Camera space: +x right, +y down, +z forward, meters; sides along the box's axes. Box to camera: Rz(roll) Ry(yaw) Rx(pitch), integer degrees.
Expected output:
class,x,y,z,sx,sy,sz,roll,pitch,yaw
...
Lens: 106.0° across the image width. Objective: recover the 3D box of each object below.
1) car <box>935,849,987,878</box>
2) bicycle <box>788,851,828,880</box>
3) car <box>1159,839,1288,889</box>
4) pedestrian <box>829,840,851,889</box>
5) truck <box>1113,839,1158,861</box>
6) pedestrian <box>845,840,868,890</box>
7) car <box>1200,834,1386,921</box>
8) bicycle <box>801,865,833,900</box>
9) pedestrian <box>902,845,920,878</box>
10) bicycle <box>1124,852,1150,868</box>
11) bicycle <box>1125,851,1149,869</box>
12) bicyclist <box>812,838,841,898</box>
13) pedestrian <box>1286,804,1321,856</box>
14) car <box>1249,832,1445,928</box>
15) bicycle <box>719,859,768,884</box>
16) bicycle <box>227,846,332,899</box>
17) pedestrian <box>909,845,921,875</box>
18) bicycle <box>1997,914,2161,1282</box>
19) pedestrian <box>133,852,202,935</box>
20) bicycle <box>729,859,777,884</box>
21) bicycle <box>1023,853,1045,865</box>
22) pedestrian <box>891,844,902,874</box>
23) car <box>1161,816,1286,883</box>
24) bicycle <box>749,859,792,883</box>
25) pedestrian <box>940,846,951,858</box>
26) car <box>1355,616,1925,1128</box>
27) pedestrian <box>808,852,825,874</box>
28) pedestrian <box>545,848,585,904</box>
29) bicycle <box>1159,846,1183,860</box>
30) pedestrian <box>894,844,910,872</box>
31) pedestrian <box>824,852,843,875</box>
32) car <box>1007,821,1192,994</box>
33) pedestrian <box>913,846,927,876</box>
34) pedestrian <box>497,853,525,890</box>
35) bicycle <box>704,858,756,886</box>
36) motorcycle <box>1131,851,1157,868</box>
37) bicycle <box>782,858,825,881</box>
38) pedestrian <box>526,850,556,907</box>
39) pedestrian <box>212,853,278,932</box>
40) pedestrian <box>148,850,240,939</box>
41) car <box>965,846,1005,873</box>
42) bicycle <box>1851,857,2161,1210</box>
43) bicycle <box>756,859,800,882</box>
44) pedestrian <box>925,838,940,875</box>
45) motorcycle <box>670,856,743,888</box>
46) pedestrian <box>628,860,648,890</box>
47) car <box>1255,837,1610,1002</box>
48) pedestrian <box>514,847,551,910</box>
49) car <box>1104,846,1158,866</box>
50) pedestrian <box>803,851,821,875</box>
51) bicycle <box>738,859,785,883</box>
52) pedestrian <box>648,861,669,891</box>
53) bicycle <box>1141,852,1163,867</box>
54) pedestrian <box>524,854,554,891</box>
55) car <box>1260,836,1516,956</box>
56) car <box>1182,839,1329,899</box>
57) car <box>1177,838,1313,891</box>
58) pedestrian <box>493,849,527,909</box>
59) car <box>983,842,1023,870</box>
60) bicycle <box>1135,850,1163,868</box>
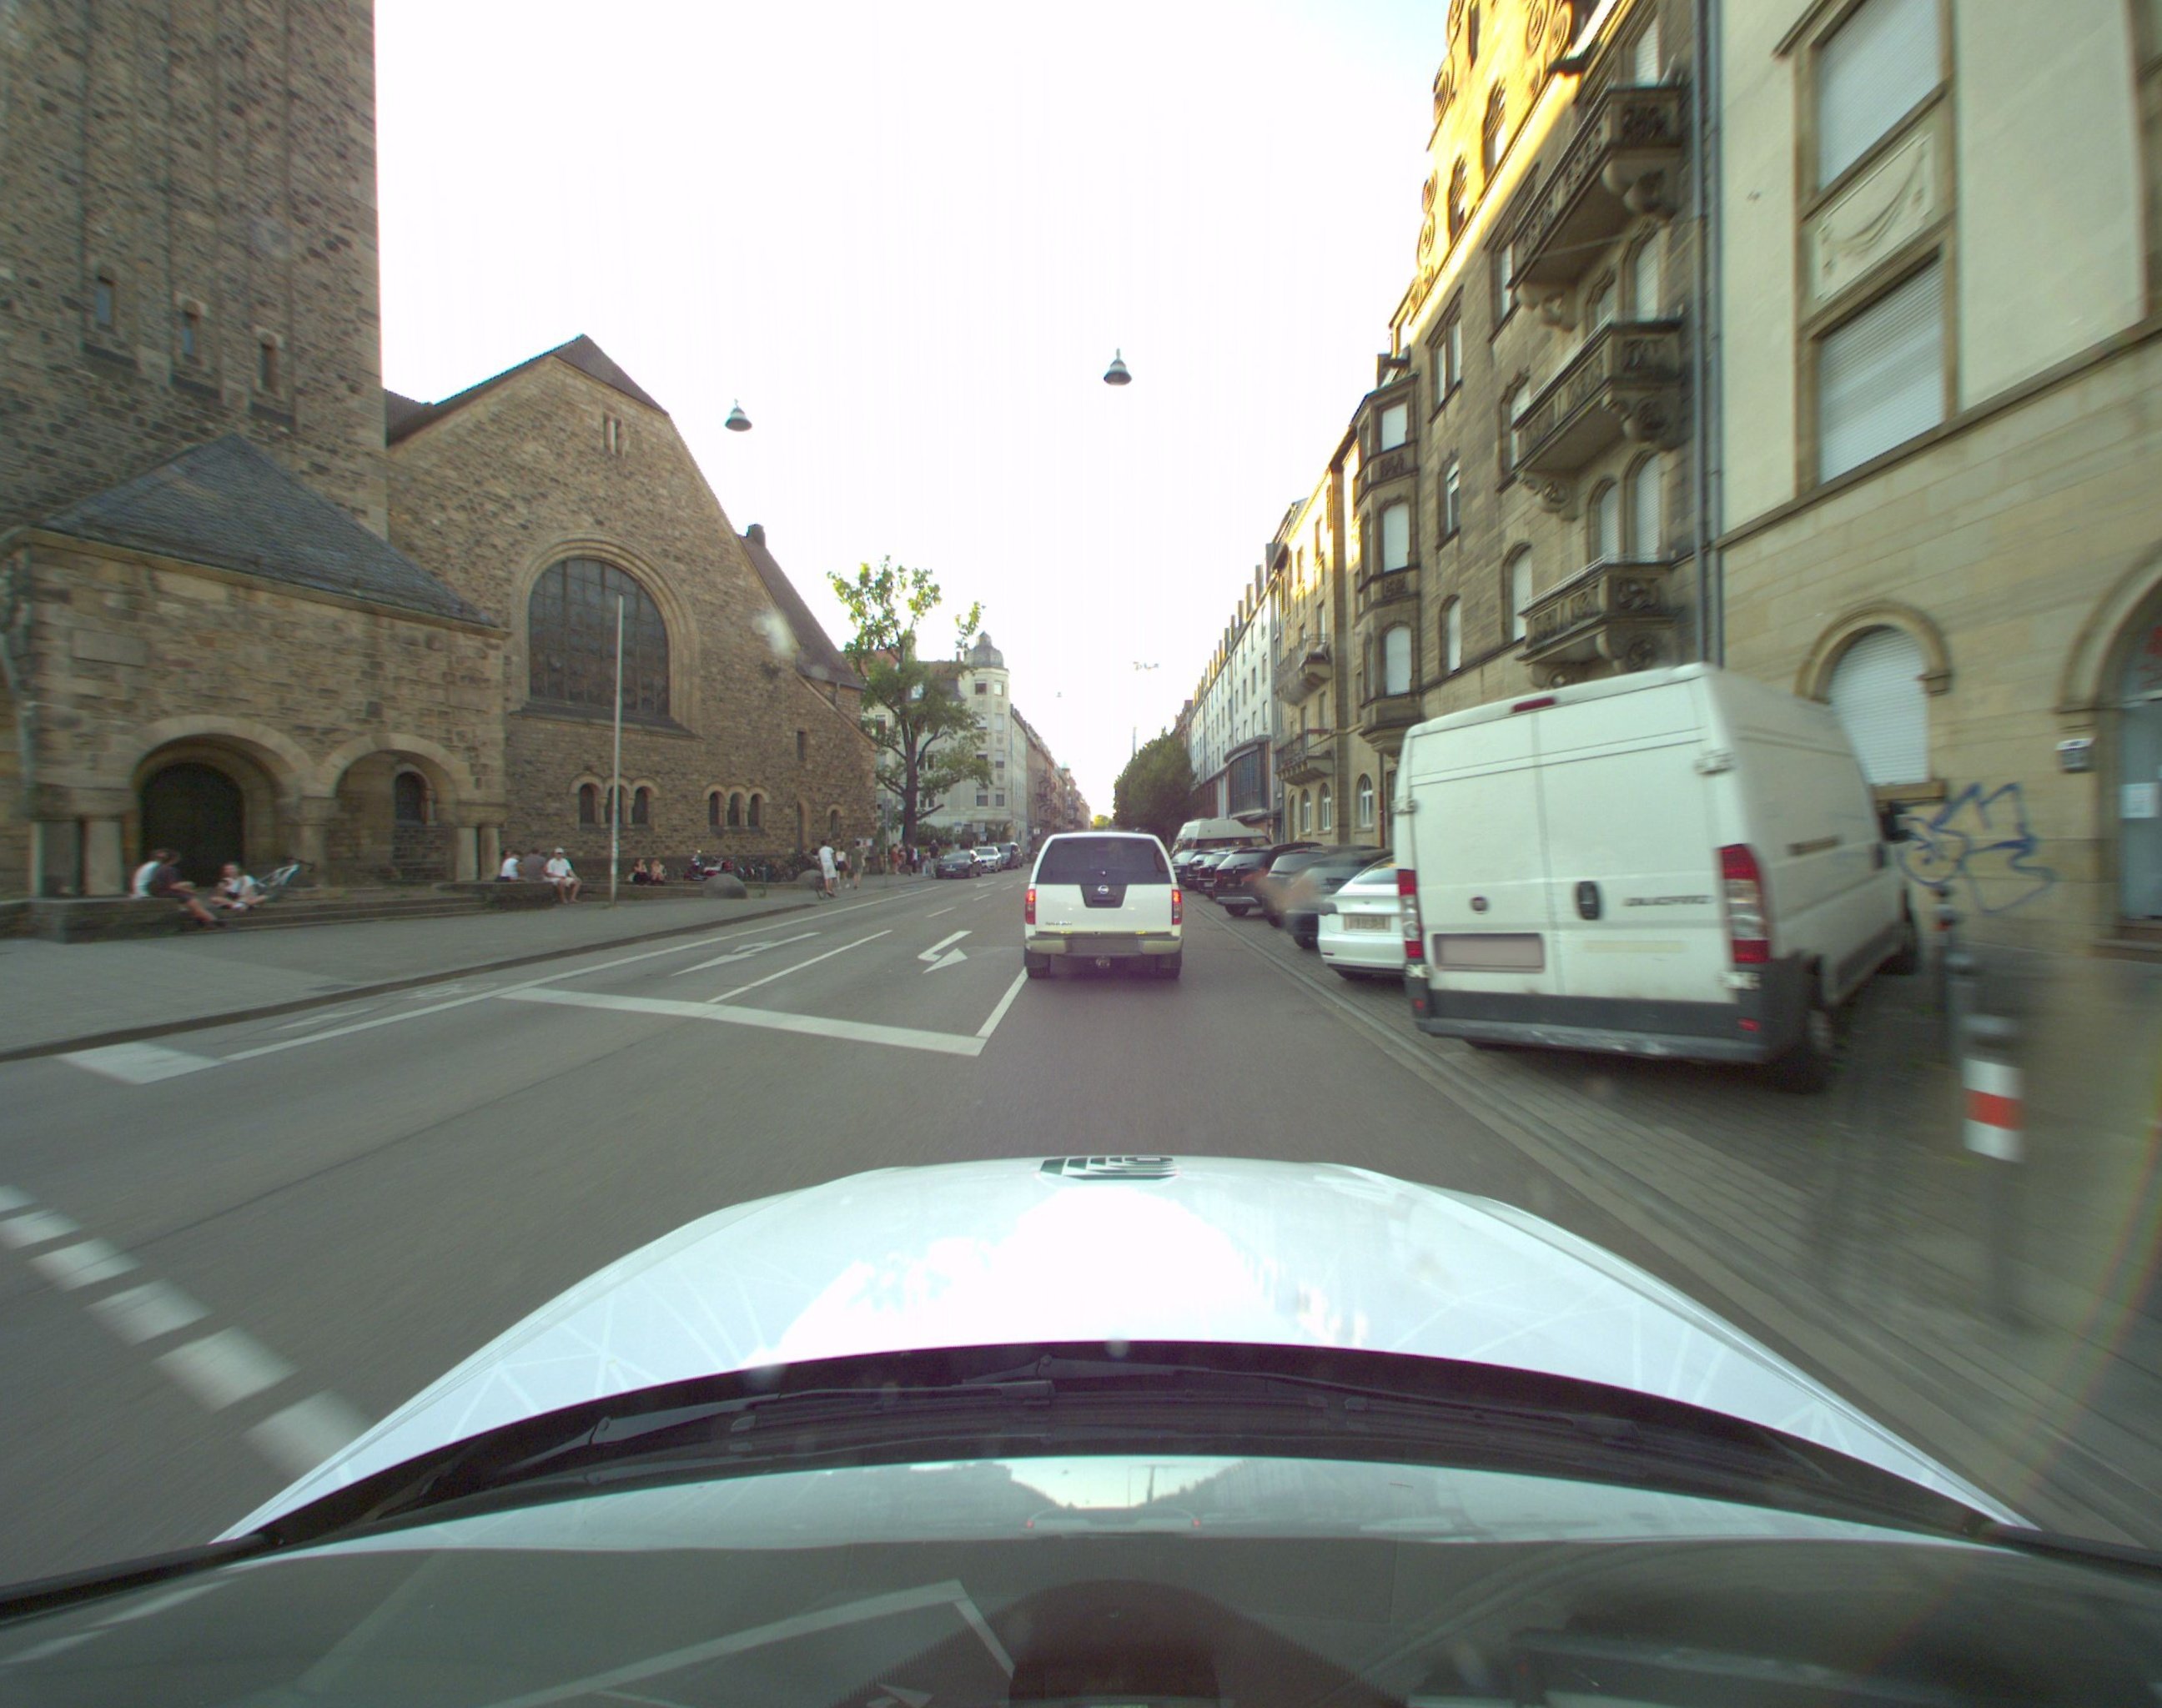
class,x,y,z,sx,sy,sz,roll,pitch,yaw
car,-6.186,0.457,42.551,1.775,1.435,4.320,-1,0,4
bicycle,-12.271,0.527,36.619,1.715,1.248,0.439,-1,0,16
car,5.207,0.337,29.729,4.411,1.486,1.827,-4,1,-29
pedestrian,-9.289,0.409,31.428,0.571,1.856,0.988,-1,0,-1
truck,7.781,-0.586,115.887,6.293,2.977,2.266,0,-3,3
pedestrian,-8.672,0.416,31.507,0.645,1.879,0.891,-1,0,-1
car,4.826,0.470,18.336,4.117,1.607,1.796,-3,0,-36
bicycle,-8.418,0.876,25.894,0.555,1.012,2.168,0,0,-29
pedestrian,-8.923,0.392,42.772,0.711,1.725,0.692,-1,0,3
bicycle,4.115,0.433,59.557,1.851,1.038,0.472,-3,0,0
bicycle,4.013,0.409,58.412,1.702,1.176,0.472,-3,0,0
bicyclist,-8.149,0.420,26.057,0.710,1.880,0.934,0,0,-29
pedestrian,9.119,-0.981,33.420,0.605,2.009,0.859,19,3,4
car,5.257,0.455,15.894,3.936,1.544,1.697,-3,-1,-39
bicycle,-13.749,0.729,33.134,1.986,0.989,0.468,-1,0,17
bicycle,-16.542,0.381,16.792,2.260,1.057,0.598,-1,0,20
pedestrian,-9.214,0.315,45.157,0.417,1.622,0.542,-1,0,-38
bicycle,4.376,0.749,2.814,1.994,1.087,0.540,-4,1,-7
pedestrian,-15.855,0.666,14.140,0.793,1.374,0.704,-1,0,36
bicycle,-13.541,0.724,33.605,1.986,0.989,0.468,-1,0,17
bicycle,-4.516,0.504,78.567,2.090,1.094,0.504,0,1,27
pedestrian,-10.135,0.274,44.724,0.417,1.674,0.542,-1,0,-38
car,5.727,-0.189,32.643,4.736,2.547,1.901,-1,-1,-27
bicycle,-13.178,0.717,34.546,1.864,0.989,0.372,-1,0,17
pedestrian,-11.058,-0.147,66.365,0.704,0.980,0.837,-1,0,0
car,4.984,0.029,6.759,5.914,2.551,2.171,-3,-1,-39
pedestrian,-12.386,0.421,38.132,0.493,1.048,0.611,-1,0,22
pedestrian,-13.265,0.554,20.927,0.695,1.406,0.636,-1,0,37
bicycle,9.641,-0.094,87.041,2.522,1.379,0.600,-1,0,4
pedestrian,-10.000,0.206,45.442,0.644,1.545,0.589,0,0,26
pedestrian,-11.633,0.460,38.255,0.512,1.056,0.703,-1,0,19
car,0.276,0.545,10.928,1.926,1.794,4.624,-1,1,2
pedestrian,-8.296,0.348,41.963,0.580,1.552,0.839,0,0,-1
pedestrian,-17.190,0.517,24.544,0.650,1.075,0.821,-1,0,-38
bicycle,-14.026,0.712,32.518,1.986,0.989,0.588,2,1,17
motorcycle,4.366,0.366,56.615,1.643,1.101,0.646,-3,0,-7
bicycle,-12.318,0.669,36.170,1.864,0.989,0.443,-1,0,17
pedestrian,-13.543,0.603,20.419,0.541,1.406,0.461,-1,0,37
pedestrian,-15.244,0.683,14.867,0.702,1.374,0.795,-1,0,-37
pedestrian,-15.129,0.669,13.909,0.622,1.453,0.921,-1,0,28
car,-5.900,0.320,50.560,1.864,1.592,4.469,-1,0,1
bicycle,4.440,0.662,3.440,1.994,1.204,0.540,-4,1,-7
bicycle,-13.015,0.711,34.975,1.864,0.989,0.372,-1,0,16
pedestrian,-7.639,0.122,41.998,0.580,1.905,0.803,-1,0,-1
motorcycle,-14.178,0.658,30.846,2.403,1.125,0.823,1,1,6
pedestrian,-14.868,0.697,27.337,0.563,0.967,0.643,-1,0,-31
car,4.302,0.614,9.732,4.274,1.453,1.978,-3,0,-36
pedestrian,-12.928,0.565,19.185,0.543,1.453,0.561,-1,0,37
car,4.070,0.162,66.328,4.009,1.506,1.755,-1,0,-27
pedestrian,-12.353,0.412,37.404,0.741,1.048,0.515,-1,0,-28
bicycle,-13.372,0.711,34.069,1.968,0.989,0.468,-1,0,17
pedestrian,-14.380,0.726,27.705,0.563,0.991,0.689,-1,0,-31
bicycle,5.112,0.404,58.950,1.534,1.038,0.472,-3,0,0
pedestrian,-16.576,0.553,24.896,0.688,1.094,1.318,-1,0,-37
car,4.821,0.567,12.598,3.935,1.446,1.853,-3,-1,-38
car,5.191,0.417,24.060,4.049,1.431,1.849,-4,0,-32
car,5.434,0.344,26.992,4.130,1.546,1.780,-2,-2,-26
pedestrian,-13.547,0.585,19.320,0.397,1.406,0.551,-1,0,37
car,-5.461,0.112,57.675,1.985,1.866,5.295,-1,0,4
bicycle,4.814,0.360,57.753,1.852,1.146,0.659,-4,0,1
